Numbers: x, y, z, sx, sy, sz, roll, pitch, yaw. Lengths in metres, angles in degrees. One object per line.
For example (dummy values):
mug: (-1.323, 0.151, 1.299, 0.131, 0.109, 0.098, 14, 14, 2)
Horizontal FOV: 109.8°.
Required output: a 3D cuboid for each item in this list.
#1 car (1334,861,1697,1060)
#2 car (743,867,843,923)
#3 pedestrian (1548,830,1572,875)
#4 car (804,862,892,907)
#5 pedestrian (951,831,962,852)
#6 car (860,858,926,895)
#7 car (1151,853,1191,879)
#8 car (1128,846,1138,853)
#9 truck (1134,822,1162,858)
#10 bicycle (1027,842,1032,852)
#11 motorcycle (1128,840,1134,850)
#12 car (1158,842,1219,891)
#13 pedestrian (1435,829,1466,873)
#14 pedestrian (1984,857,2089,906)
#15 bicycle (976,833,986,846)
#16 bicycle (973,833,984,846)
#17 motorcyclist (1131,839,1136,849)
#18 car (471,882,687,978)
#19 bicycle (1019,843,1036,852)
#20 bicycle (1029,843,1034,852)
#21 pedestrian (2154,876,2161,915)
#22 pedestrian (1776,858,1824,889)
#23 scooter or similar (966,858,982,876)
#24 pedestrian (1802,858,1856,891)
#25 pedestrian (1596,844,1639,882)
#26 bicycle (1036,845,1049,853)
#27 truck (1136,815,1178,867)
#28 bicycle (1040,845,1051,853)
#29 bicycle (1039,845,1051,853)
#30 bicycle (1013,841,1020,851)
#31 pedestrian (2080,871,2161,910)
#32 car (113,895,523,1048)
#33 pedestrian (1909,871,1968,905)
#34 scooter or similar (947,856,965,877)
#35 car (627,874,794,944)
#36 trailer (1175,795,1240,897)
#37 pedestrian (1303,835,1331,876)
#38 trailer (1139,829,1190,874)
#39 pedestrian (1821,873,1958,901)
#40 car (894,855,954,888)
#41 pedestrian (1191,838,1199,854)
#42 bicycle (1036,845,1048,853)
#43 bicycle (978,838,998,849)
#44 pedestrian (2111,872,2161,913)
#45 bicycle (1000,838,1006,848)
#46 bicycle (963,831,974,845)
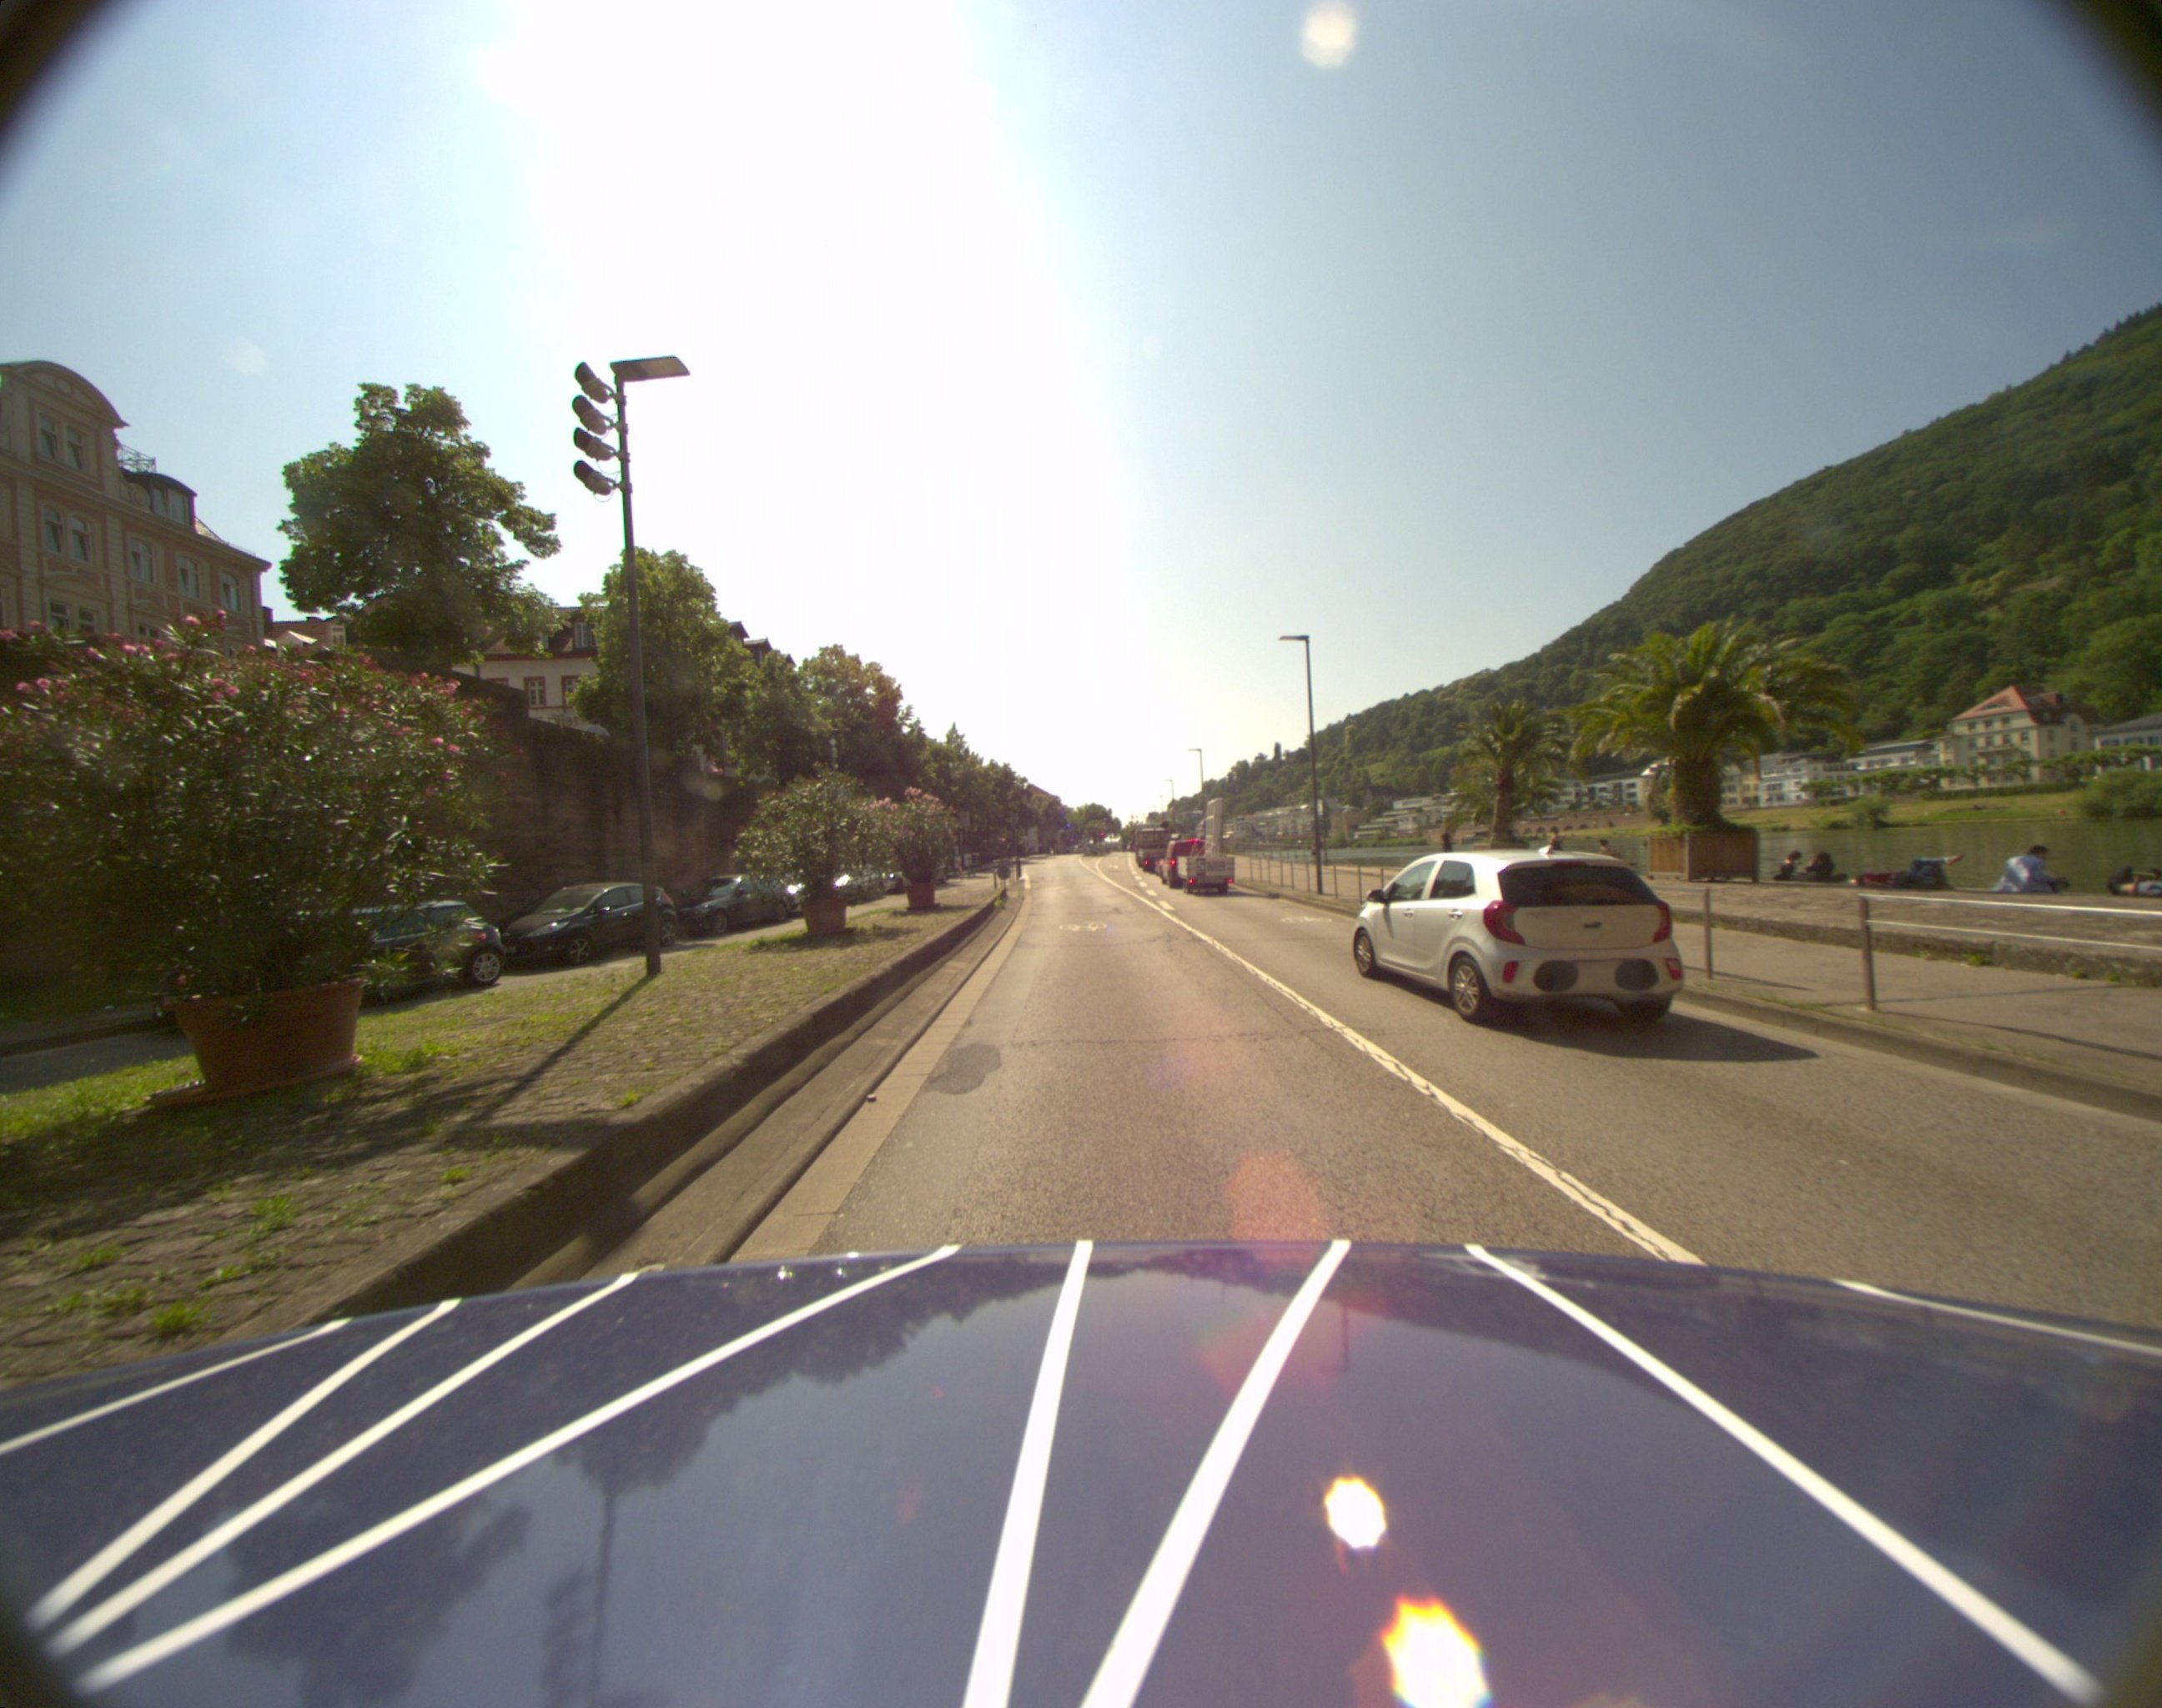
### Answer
car: (3.936, 0.832, 7.662, 1.538, 1.428, 3.727, -1, 1, 0)
car: (-9.102, 1.241, 24.302, 1.715, 1.449, 3.547, -2, 1, 1)
pedestrian: (17.341, -0.044, 27.504, 0.593, 1.592, 0.681, -2, 1, 24)
car: (-8.929, 1.117, 29.573, 1.758, 1.424, 4.756, -2, 1, 2)
pedestrian: (-10.419, -1.062, 63.640, 0.720, 1.711, 0.711, -2, 1, 3)
car: (-8.405, 0.961, 34.276, 1.615, 1.405, 3.904, -2, 1, 5)
car: (4.588, 0.581, 39.147, 1.675, 1.187, 3.628, -1, 1, 0)
car: (11.052, -1.006, 162.198, 1.998, 1.444, 4.261, -3, 1, 1)
truck: (7.079, -1.515, 80.631, 2.648, 3.456, 11.108, -2, 1, 5)
bicycle: (-6.702, -0.915, 98.344, 0.476, 1.255, 2.162, 0, 1, 1)
motorcycle: (7.519, -1.344, 113.701, 0.728, 1.379, 2.512, -2, 1, 5)
car: (4.275, 0.468, 30.814, 1.879, 1.817, 4.543, -1, 1, 1)
pedestrian: (14.626, -0.105, 30.116, 0.795, 1.682, 0.846, -2, 1, 4)
pedestrian: (15.729, 0.441, 12.530, 0.788, 0.738, 0.711, -2, 1, 10)
bicycle: (-8.981, -1.280, 68.286, 0.411, 1.099, 1.925, -1, 1, 8)
bicycle: (-8.993, -1.253, 66.593, 0.411, 1.099, 1.735, -1, 1, 8)
motorcyclist: (7.807, -1.537, 113.719, 0.703, 1.518, 0.861, -2, 1, 5)
car: (-9.834, 1.418, 15.260, 1.498, 1.476, 3.717, -2, 1, 7)
bicycle: (-7.364, -0.897, 104.558, 2.160, 1.360, 0.584, 0, 2, 3)
bicycle: (-6.561, -0.851, 100.601, 0.476, 1.255, 2.162, 0, 1, 1)
pedestrian: (15.955, 0.598, 10.872, 0.545, 0.561, 0.415, -2, 1, 13)
pedestrian: (18.026, 0.477, 19.058, 0.697, 0.738, 0.530, -2, 1, 5)
scooter or similar: (-6.642, 0.804, 47.182, 0.532, 1.083, 1.440, -1, 2, 12)
pedestrian: (18.004, 0.489, 18.298, 0.697, 0.738, 0.603, -2, 1, 5)
pedestrian: (16.533, 0.275, 23.444, 0.943, 1.138, 0.507, 0, 1, 5)
bicycle: (-5.556, -0.763, 109.301, 1.753, 1.127, 0.464, 0, 1, -1)
truck: (5.359, -0.944, 54.726, 2.648, 3.437, 7.870, -1, 2, 3)
bicycle: (-5.228, -0.801, 113.013, 1.628, 1.163, 0.367, 0, 1, 22)
bicycle: (-5.339, -0.809, 112.725, 1.628, 1.163, 0.425, 0, 1, 22)
bicycle: (-7.444, -0.914, 87.599, 0.345, 1.106, 1.919, -1, 1, 7)
pedestrian: (16.061, 0.557, 11.740, 0.545, 0.561, 0.533, -2, 1, 13)
car: (-10.510, 1.510, 10.953, 1.594, 1.512, 3.905, -2, 1, 10)
pedestrian: (15.571, 0.618, 13.801, 0.464, 0.561, 0.515, 2, 2, 10)
scooter or similar: (-7.668, 0.770, 46.557, 0.532, 1.223, 1.272, -1, 2, 17)
car: (-9.463, 1.340, 19.877, 1.714, 1.380, 4.409, -1, 1, 8)
trailer: (4.342, -0.290, 26.436, 1.746, 3.301, 3.383, -1, 1, 1)
pedestrian: (10.068, 0.058, 32.464, 0.818, 1.691, 1.151, -3, 2, 1)
trailer: (4.974, -0.259, 46.387, 2.703, 2.516, 6.946, -1, 2, 3)
pedestrian: (14.572, 0.581, 13.765, 0.646, 0.419, 1.742, -1, 0, 1)
car: (-8.036, 0.854, 39.257, 1.847, 1.442, 4.534, -2, 1, 3)
pedestrian: (11.974, -0.825, 80.029, 0.713, 1.697, 0.845, -2, 1, 5)
bicycle: (-5.569, -0.736, 108.331, 1.753, 1.127, 0.540, 0, 1, -3)
bicycle: (-9.158, -1.033, 74.655, 1.858, 0.999, 0.299, -2, 1, 0)
pedestrian: (15.908, 0.574, 11.300, 0.545, 0.561, 0.432, -2, 1, 13)
bicycle: (-8.013, -1.122, 78.205, 0.299, 0.999, 1.941, -2, 0, 2)
bicycle: (-9.250, -1.300, 62.445, 0.411, 1.099, 1.735, -1, 1, 8)
